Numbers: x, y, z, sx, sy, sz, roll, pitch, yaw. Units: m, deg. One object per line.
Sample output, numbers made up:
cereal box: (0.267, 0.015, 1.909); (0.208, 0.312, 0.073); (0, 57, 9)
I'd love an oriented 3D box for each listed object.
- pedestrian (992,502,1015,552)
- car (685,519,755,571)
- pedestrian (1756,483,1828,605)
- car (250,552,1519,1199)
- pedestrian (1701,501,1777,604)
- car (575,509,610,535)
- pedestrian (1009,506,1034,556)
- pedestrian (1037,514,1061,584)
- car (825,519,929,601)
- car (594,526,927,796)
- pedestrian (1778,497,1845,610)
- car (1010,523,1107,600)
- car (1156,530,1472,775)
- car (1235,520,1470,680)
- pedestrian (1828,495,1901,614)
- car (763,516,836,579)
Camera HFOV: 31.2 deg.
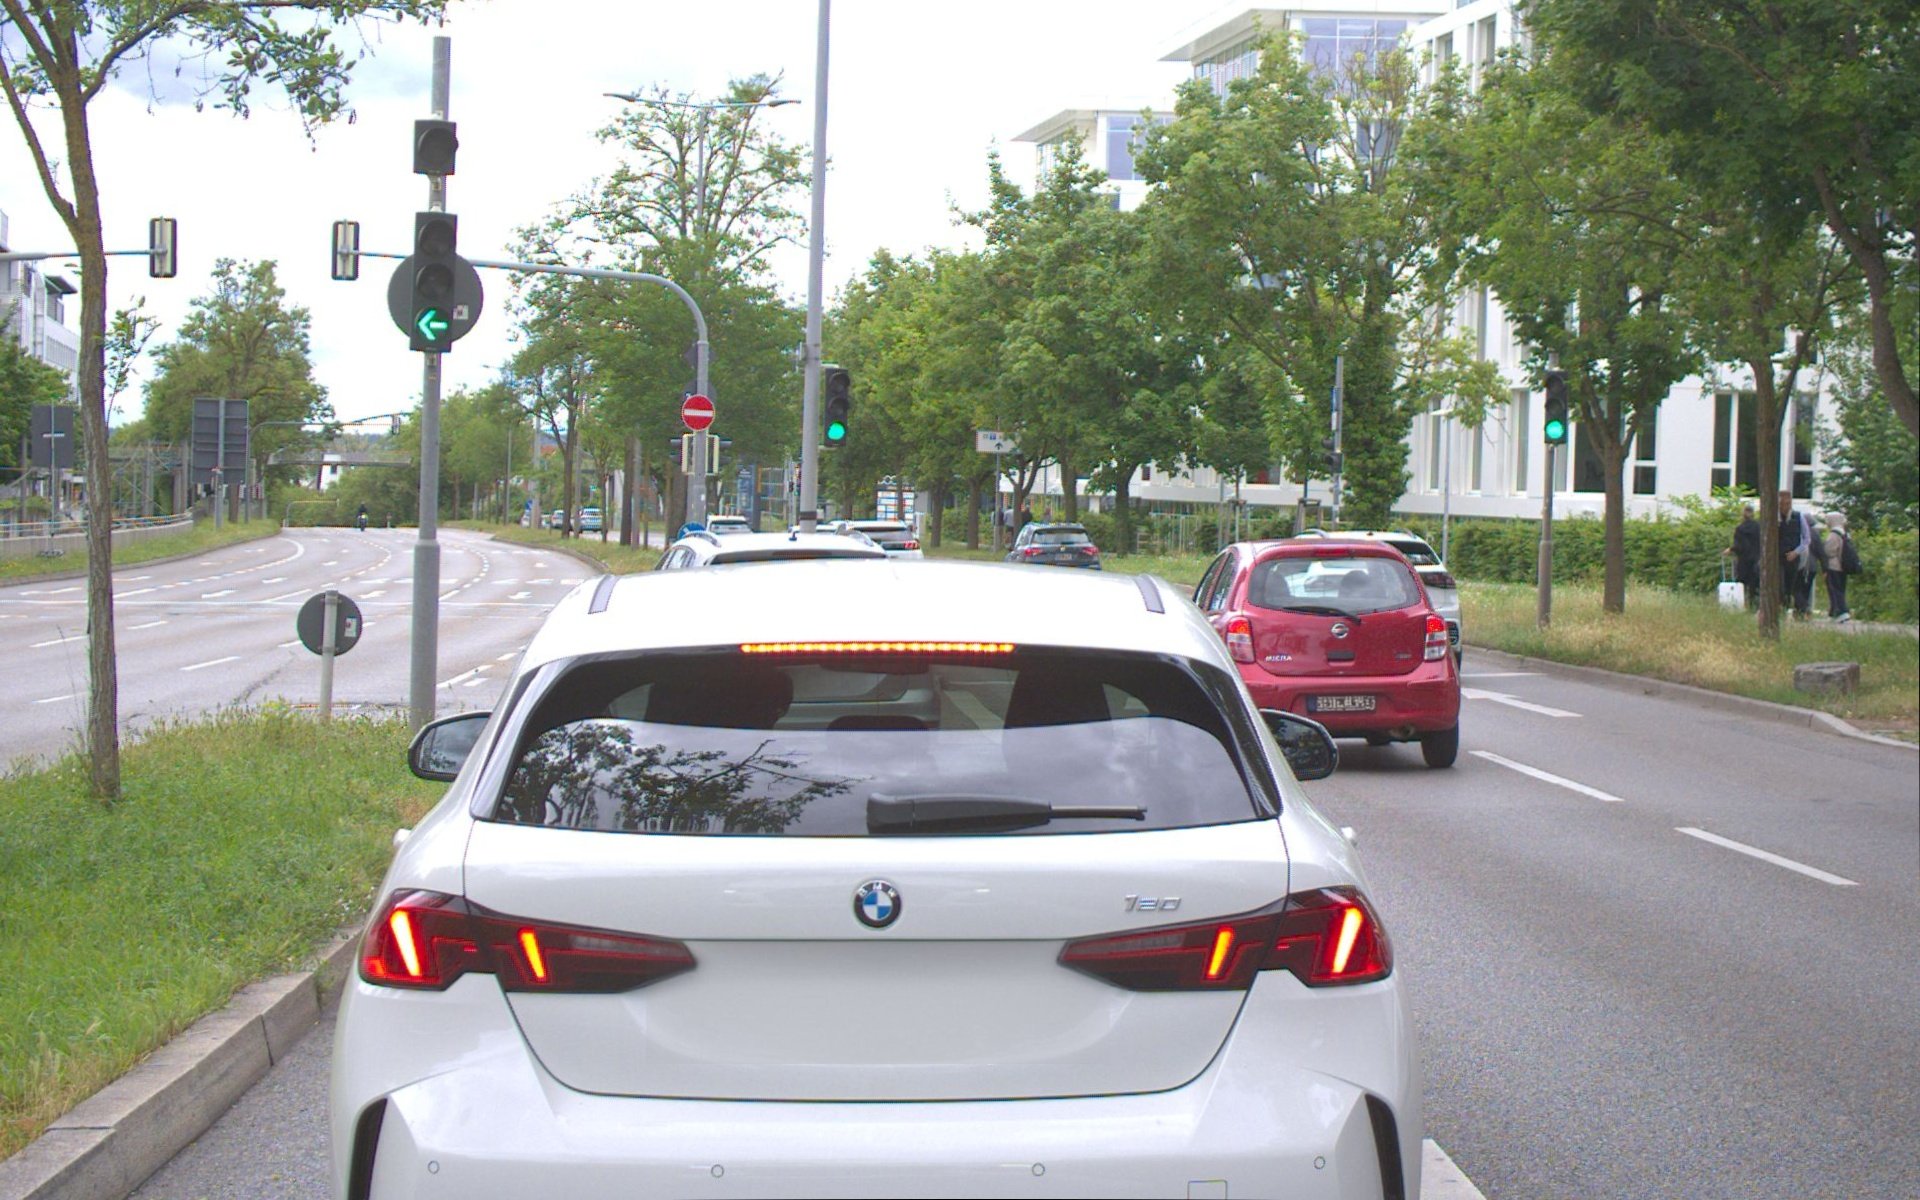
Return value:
pedestrian: (1.785, -2.991, 141.116); (0.762, 2.007, 0.754); (1, 0, -15)
car: (-7.711, -1.763, 110.246); (1.891, 1.590, 4.315); (1, 1, -8)
pedestrian: (10.841, -0.733, 44.836); (0.741, 1.568, 0.674); (1, 0, -1)
car: (-0.136, 0.650, 6.996); (1.822, 1.433, 4.000); (1, 1, -1)
pedestrian: (11.113, -0.675, 49.084); (0.789, 1.443, 1.112); (1, 0, -1)
car: (-24.089, -5.110, 225.256); (1.993, 1.664, 4.001); (-1, 1, -10)
pedestrian: (2.486, -2.800, 139.283); (0.848, 2.007, 0.606); (1, 1, -15)
pedestrian: (3.371, -1.930, 130.265); (0.831, 2.618, 0.646); (1, 1, -1)
car: (-1.700, -0.818, 68.918); (1.854, 1.590, 4.314); (0, 1, -4)
car: (-1.378, 0.324, 22.194); (1.549, 1.563, 4.001); (1, 1, -12)
pedestrian: (12.141, -0.661, 49.025); (0.699, 1.590, 0.883); (1, 0, -1)
car: (2.009, -0.773, 70.834); (1.657, 1.507, 4.000); (1, 0, -3)
car: (2.354, 0.298, 23.705); (1.716, 1.553, 3.858); (0, 1, -1)
car: (4.013, -0.035, 35.748); (1.715, 1.550, 4.090); (1, 1, -4)
pedestrian: (12.912, -0.651, 49.084); (0.767, 1.679, 0.883); (1, 0, -1)
car: (-3.906, -1.289, 83.255); (1.605, 1.463, 3.676); (1, 1, -5)
